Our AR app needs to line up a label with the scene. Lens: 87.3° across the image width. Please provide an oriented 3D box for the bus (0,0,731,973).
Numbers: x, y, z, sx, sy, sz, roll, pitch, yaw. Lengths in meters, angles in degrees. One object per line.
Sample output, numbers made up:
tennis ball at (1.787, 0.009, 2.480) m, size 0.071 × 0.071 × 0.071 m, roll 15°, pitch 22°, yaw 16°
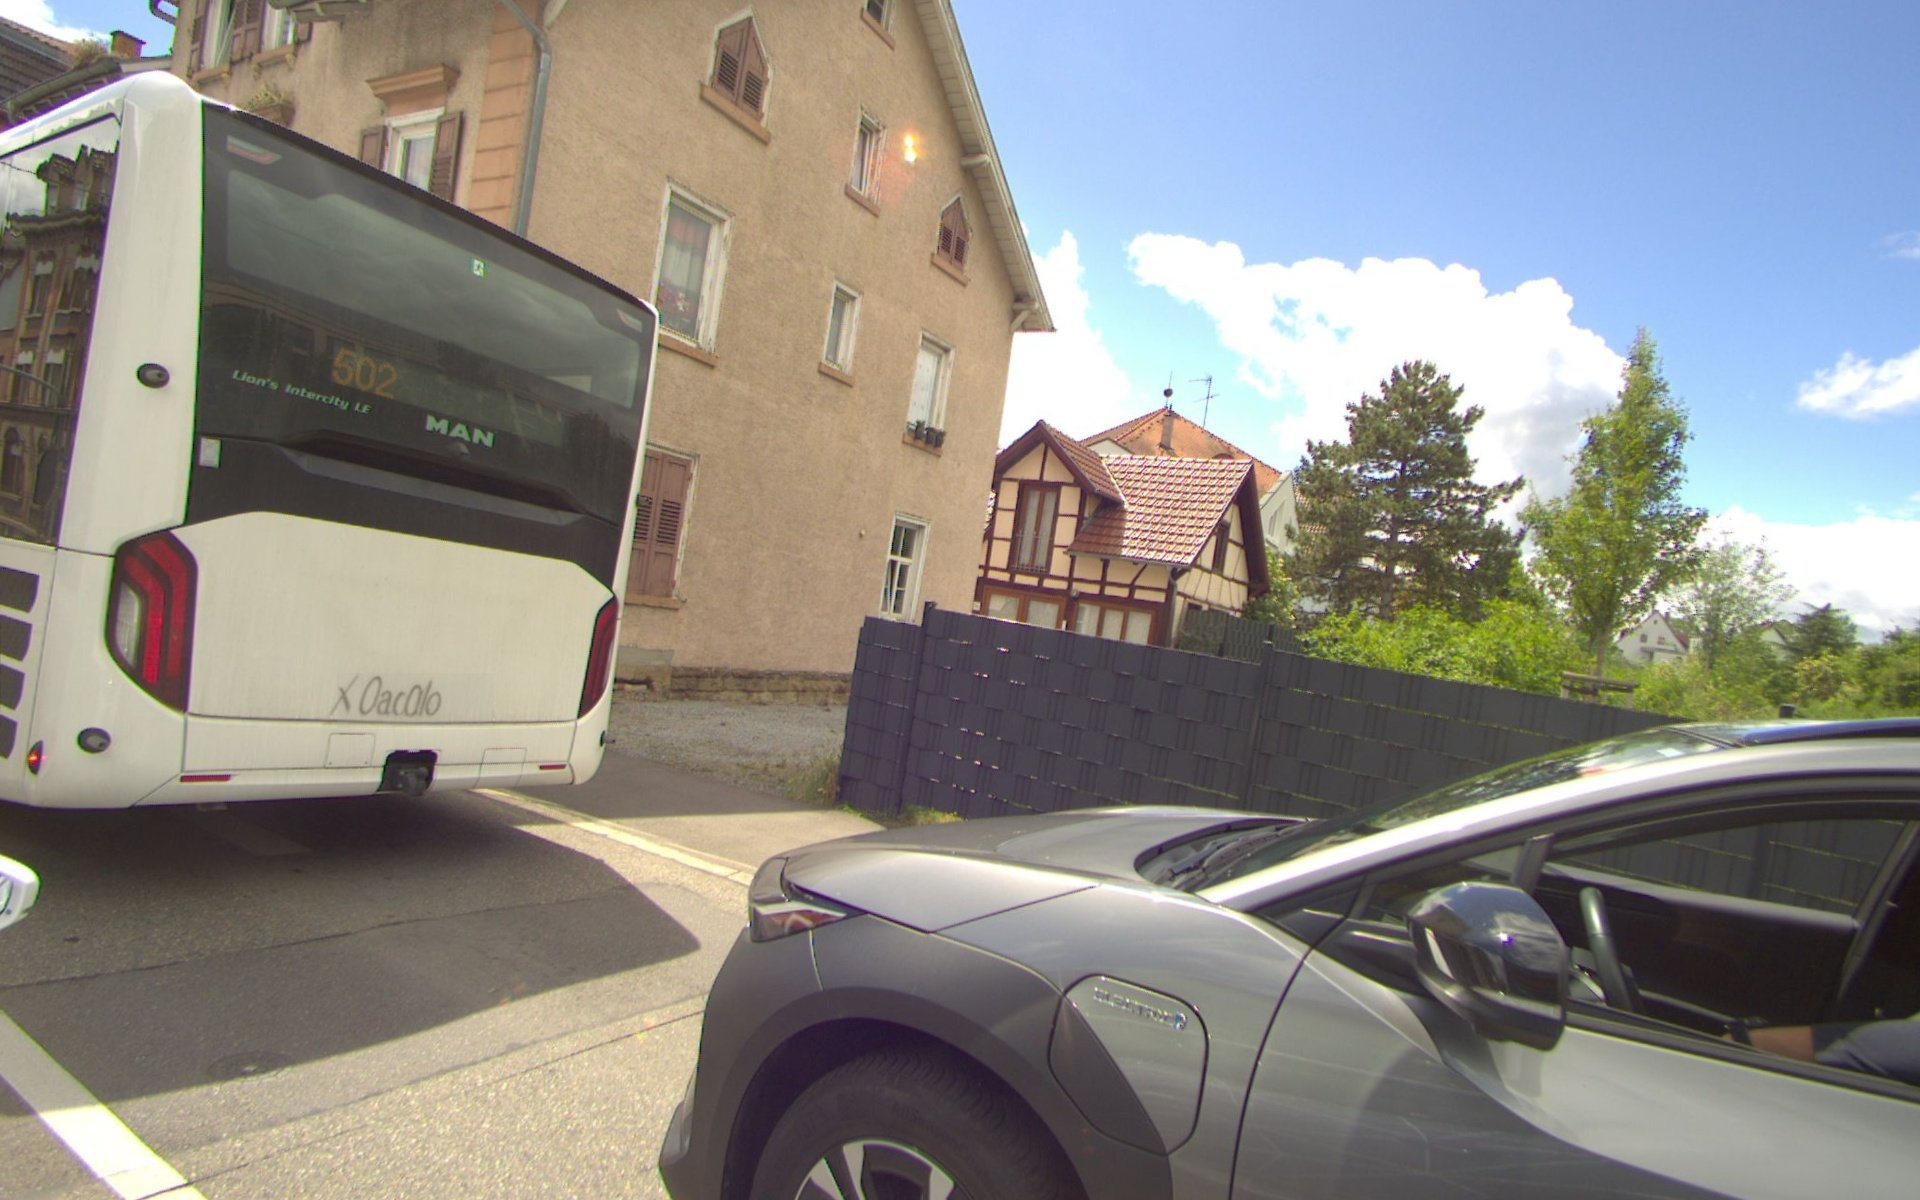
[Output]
bus at (-7.474, -0.937, 7.805) m, size 12.281 × 3.551 × 2.910 m, roll 6°, pitch -2°, yaw 32°

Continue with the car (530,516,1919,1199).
car at (1.572, 0.949, 1.842) m, size 4.504 × 1.648 × 1.997 m, roll 7°, pitch -1°, yaw 31°
